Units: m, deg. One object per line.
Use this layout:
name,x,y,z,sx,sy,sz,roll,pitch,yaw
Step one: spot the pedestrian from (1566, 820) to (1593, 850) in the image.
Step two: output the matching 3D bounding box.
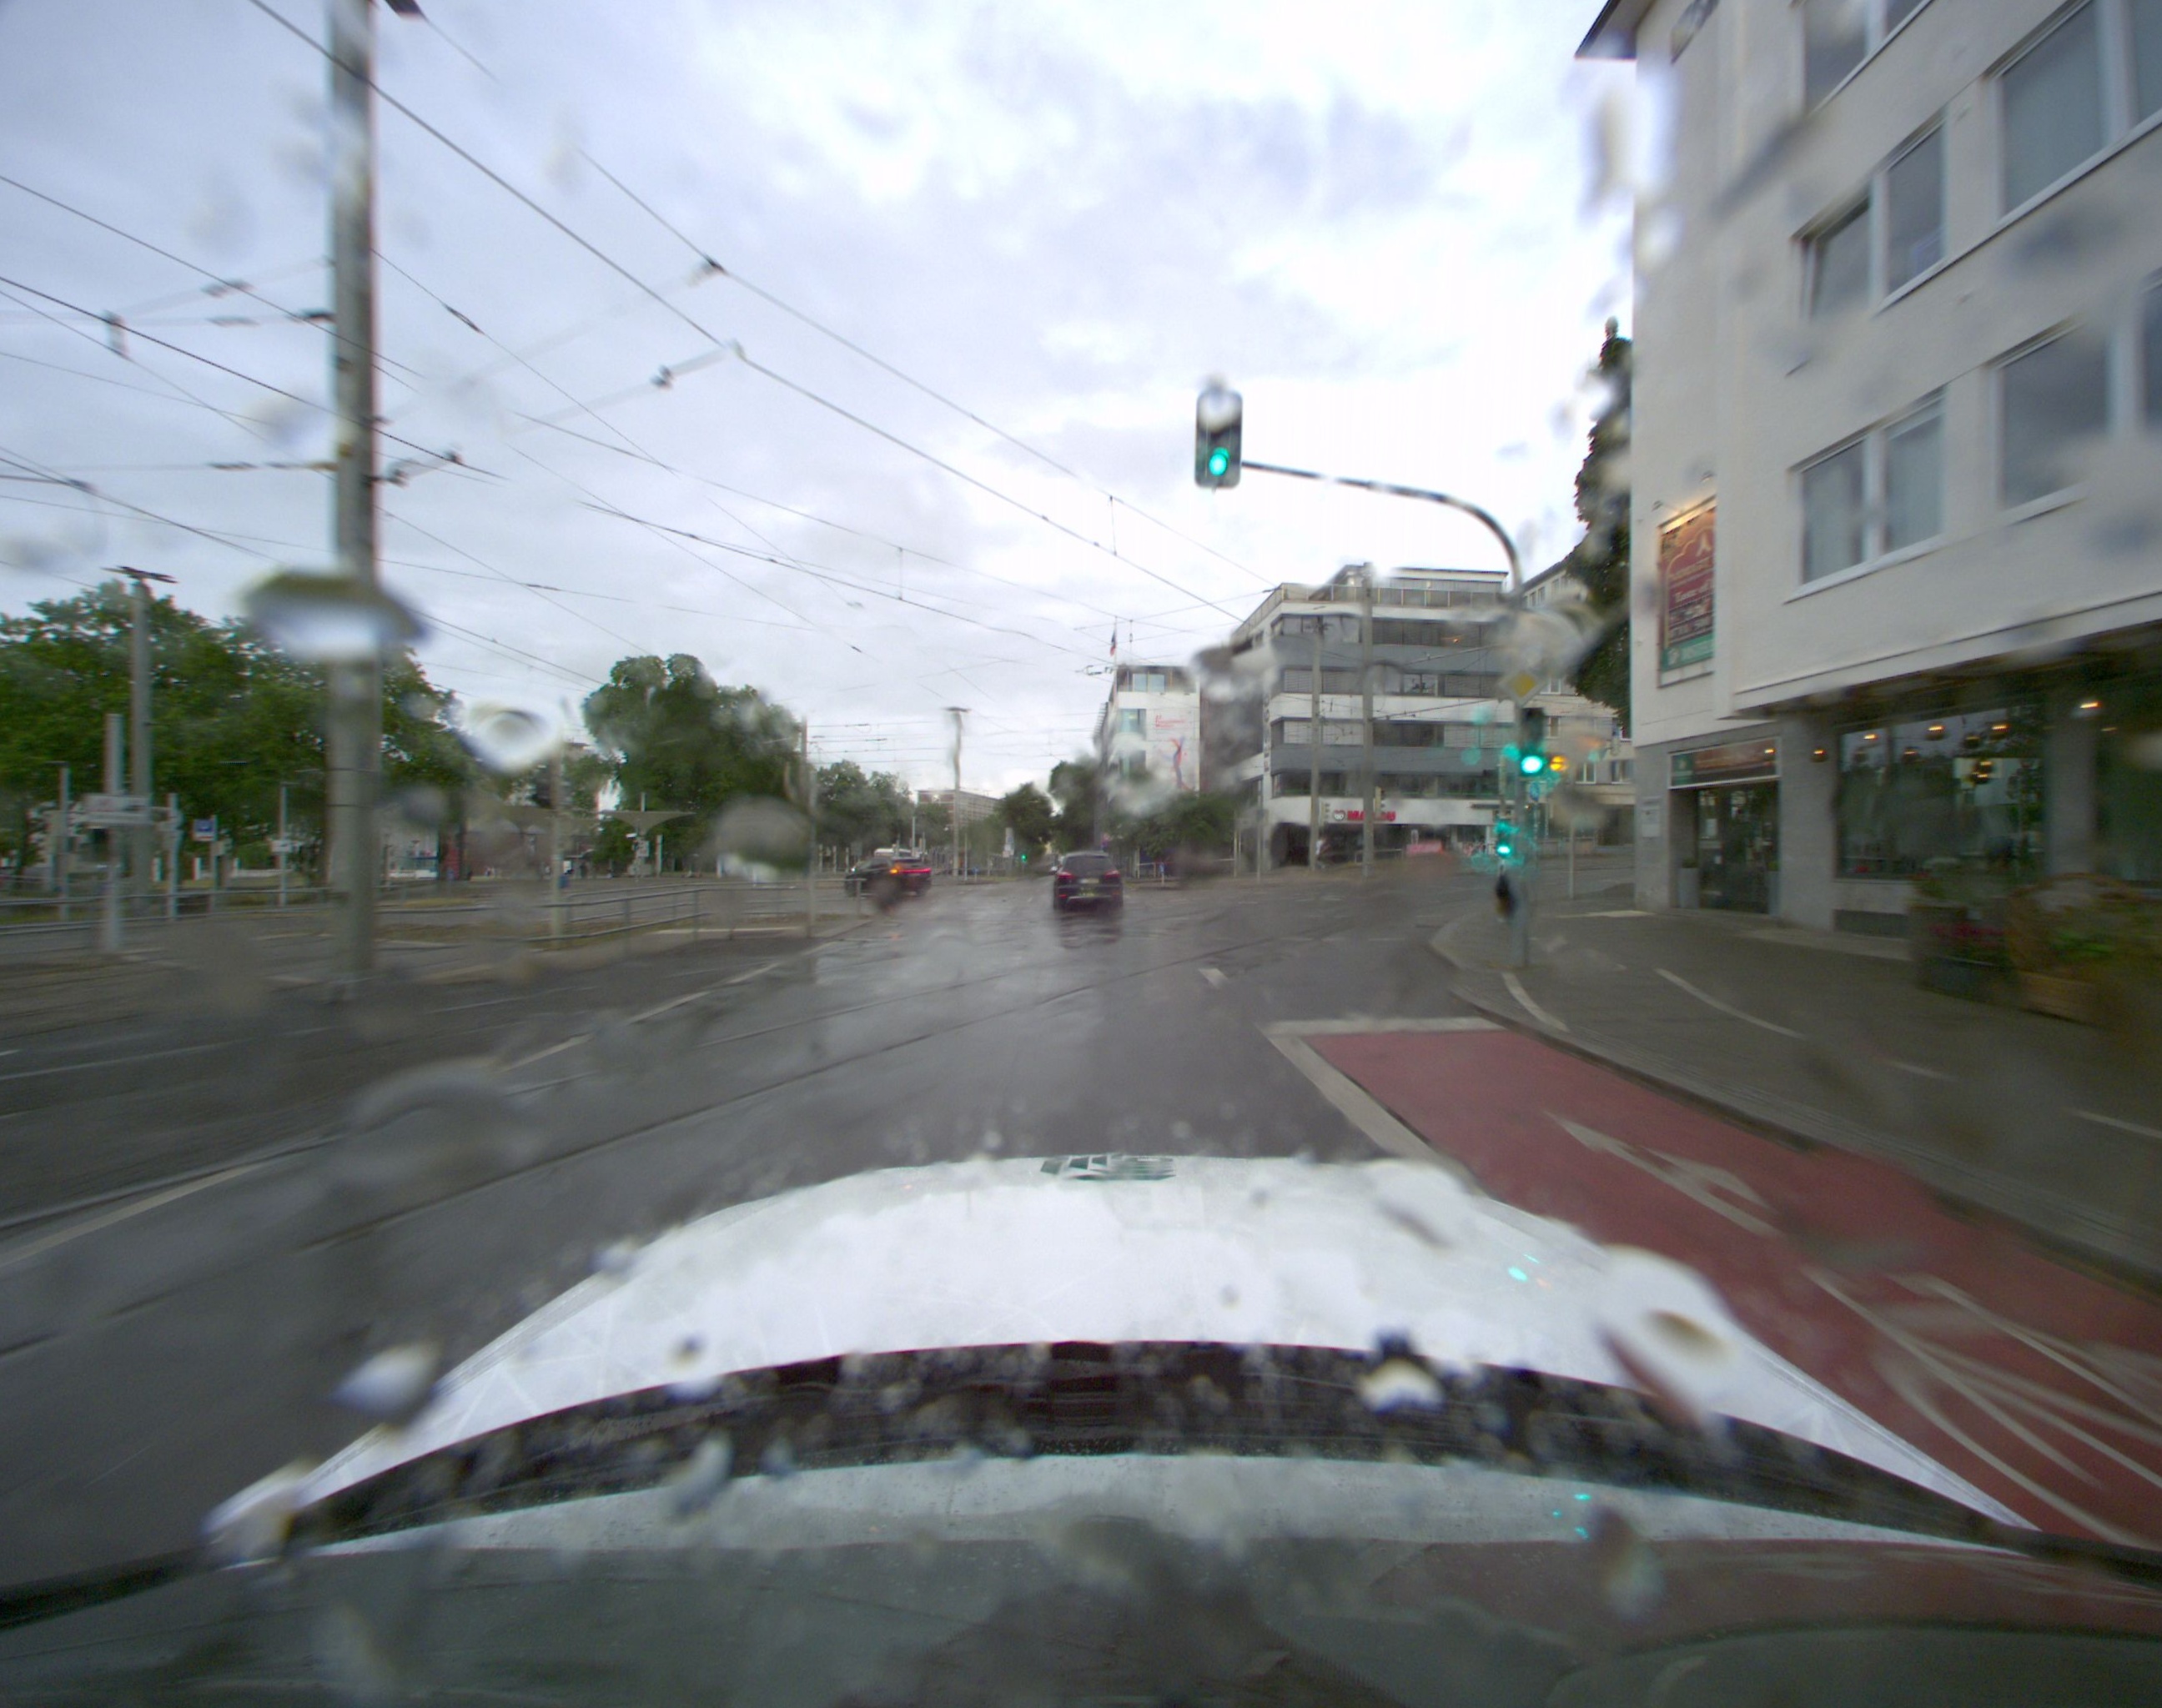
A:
pedestrian,29.474,-1.125,48.133,0.994,1.681,0.889,-2,0,-5

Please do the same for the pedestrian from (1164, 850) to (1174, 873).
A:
pedestrian,5.992,0.482,55.738,0.537,1.563,0.524,-1,0,19

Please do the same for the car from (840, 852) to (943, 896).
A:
car,-7.397,0.716,31.448,2.115,1.505,4.678,-2,1,-37

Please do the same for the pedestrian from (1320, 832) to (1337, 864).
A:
pedestrian,14.752,-0.353,48.509,0.710,1.914,0.702,-1,0,37

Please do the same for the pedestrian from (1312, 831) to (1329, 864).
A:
pedestrian,14.106,-0.370,47.968,0.710,1.914,0.702,-1,0,37

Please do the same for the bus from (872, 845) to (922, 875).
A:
bus,-21.921,0.622,97.889,3.067,3.300,12.521,-1,1,0

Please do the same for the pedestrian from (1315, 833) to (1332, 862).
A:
pedestrian,14.672,-0.400,49.292,0.710,1.761,0.702,-1,0,44

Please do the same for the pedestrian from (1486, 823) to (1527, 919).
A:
pedestrian,7.815,0.290,14.951,0.522,1.712,0.710,-1,1,38

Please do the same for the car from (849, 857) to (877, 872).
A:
car,-24.993,1.160,93.434,1.987,1.645,4.536,-1,0,0

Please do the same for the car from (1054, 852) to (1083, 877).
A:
car,-0.942,0.774,62.360,2.028,1.839,4.393,0,1,1

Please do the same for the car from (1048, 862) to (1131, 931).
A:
car,0.193,1.071,22.161,2.030,1.584,4.391,0,1,-1
